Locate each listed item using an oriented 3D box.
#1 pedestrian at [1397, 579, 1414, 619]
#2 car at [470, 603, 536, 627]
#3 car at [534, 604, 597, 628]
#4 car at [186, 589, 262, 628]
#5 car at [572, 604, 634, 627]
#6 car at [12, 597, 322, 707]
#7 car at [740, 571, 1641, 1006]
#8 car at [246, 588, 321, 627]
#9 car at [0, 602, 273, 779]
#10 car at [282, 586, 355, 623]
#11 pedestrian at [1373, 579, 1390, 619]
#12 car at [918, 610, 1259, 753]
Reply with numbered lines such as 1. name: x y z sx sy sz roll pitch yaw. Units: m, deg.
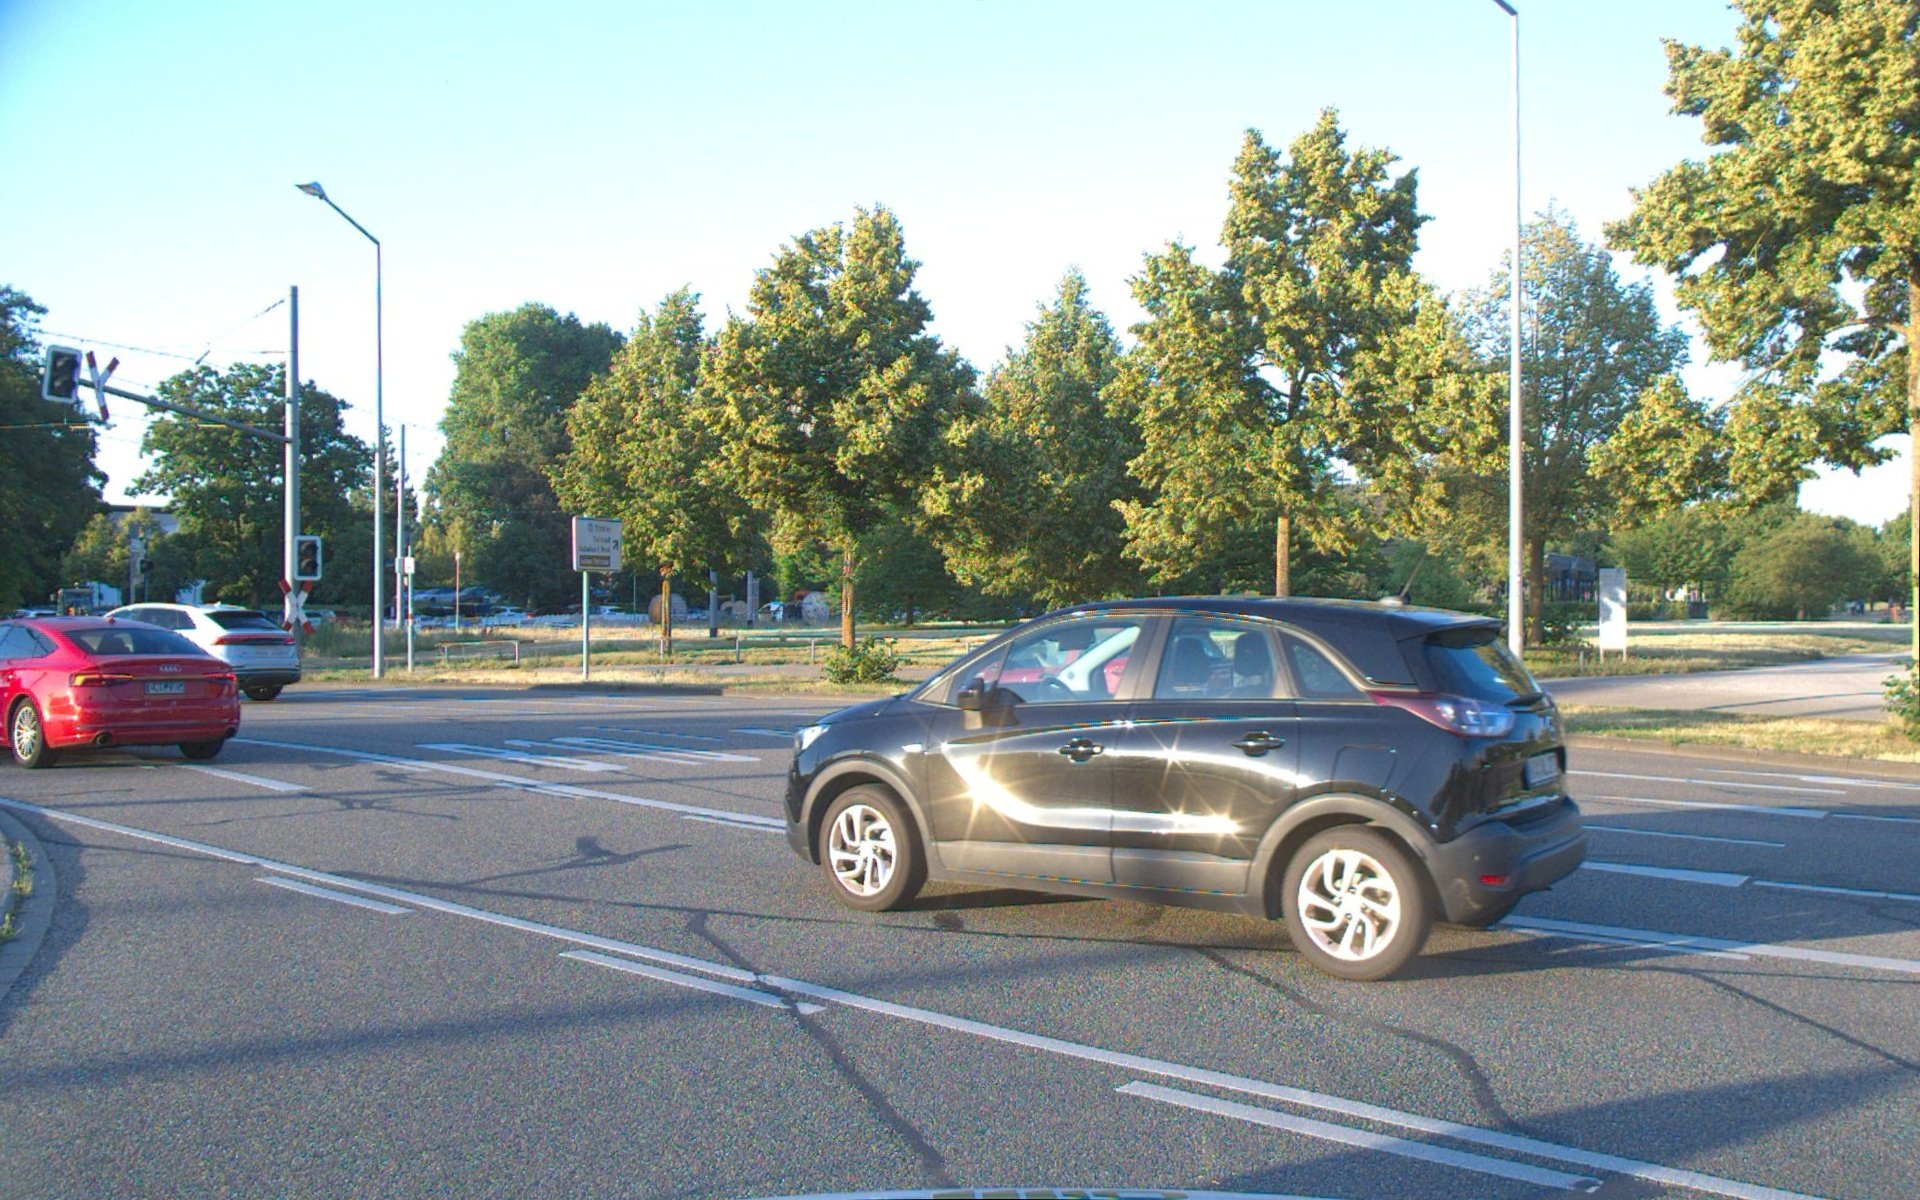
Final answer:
1. pedestrian: 18.453 -0.043 68.543 0.519 1.655 0.618 0 0 34
2. car: -29.733 0.962 107.497 3.913 1.578 1.996 0 0 30
3. car: -26.923 1.094 112.792 3.913 1.578 1.996 0 0 30
4. car: -40.446 0.461 90.887 3.914 2.135 1.995 0 0 31
5. car: -24.961 1.064 115.711 3.913 1.578 1.996 0 0 30
6. car: -13.679 0.840 28.573 4.821 1.740 1.915 0 1 17
7. car: 1.022 0.727 8.102 4.050 1.641 1.717 0 -1 34
8. car: -38.262 0.399 93.562 3.914 2.135 1.995 0 0 31
9. car: -8.927 0.793 16.559 4.492 1.486 1.837 1 1 38
10. car: -37.273 0.252 96.041 3.914 2.135 1.995 0 0 31
11. pedestrian: 17.486 -0.045 68.647 0.522 1.655 0.578 0 0 36
12. car: 1.474 0.883 19.114 3.554 1.509 1.723 0 -1 31
